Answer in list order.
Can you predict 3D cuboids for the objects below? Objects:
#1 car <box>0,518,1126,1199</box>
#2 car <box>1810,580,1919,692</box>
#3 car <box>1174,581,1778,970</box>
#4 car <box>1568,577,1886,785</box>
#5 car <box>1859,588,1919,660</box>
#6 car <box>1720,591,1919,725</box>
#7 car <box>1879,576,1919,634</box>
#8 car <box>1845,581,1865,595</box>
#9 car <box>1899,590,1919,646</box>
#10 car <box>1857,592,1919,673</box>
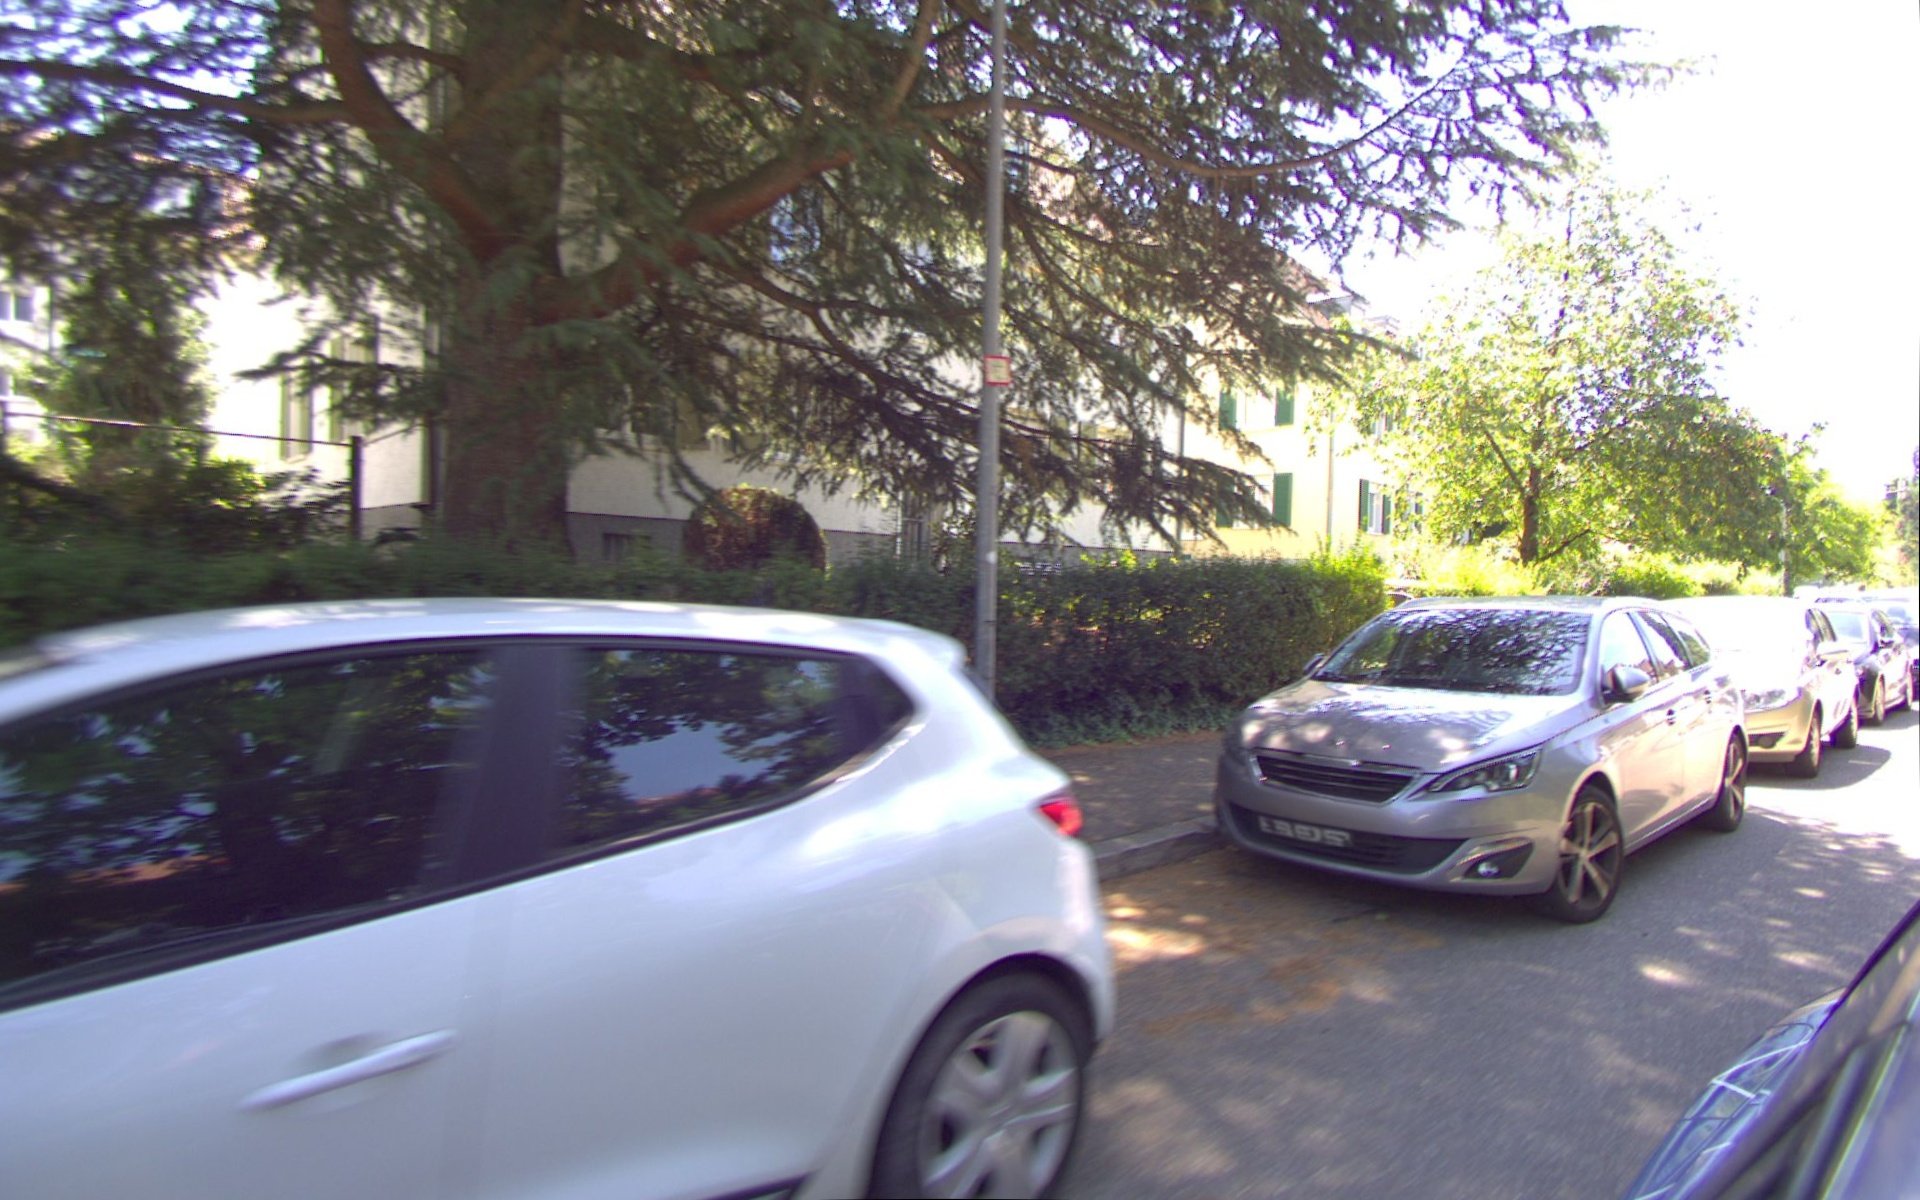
[{"bbox_3d":[-1.638,0.643,1.782,3.992,1.488,1.618,0,0,-40],"label":"car"},{"bbox_3d":[14.884,0.515,16.128,3.940,1.596,1.583,0,0,-43],"label":"car"},{"bbox_3d":[3.228,0.639,5.870,4.298,1.469,1.618,0,1,-41],"label":"car"},{"bbox_3d":[7.304,0.605,9.491,3.995,1.532,1.616,-1,-2,-42],"label":"car"},{"bbox_3d":[22.730,0.510,24.091,4.135,1.558,1.663,-1,0,-44],"label":"car"},{"bbox_3d":[11.223,0.660,12.980,3.939,1.462,1.583,0,-3,-42],"label":"car"},{"bbox_3d":[31.181,0.127,33.040,1.660,1.826,4.139,-3,-1,42],"label":"car"},{"bbox_3d":[113.556,-1.540,128.447,1.650,1.581,3.829,3,3,40],"label":"car"},{"bbox_3d":[27.251,0.460,28.057,1.662,1.454,4.063,-3,-1,44],"label":"car"},{"bbox_3d":[18.703,0.575,19.723,1.662,1.450,4.137,0,1,44],"label":"car"}]
